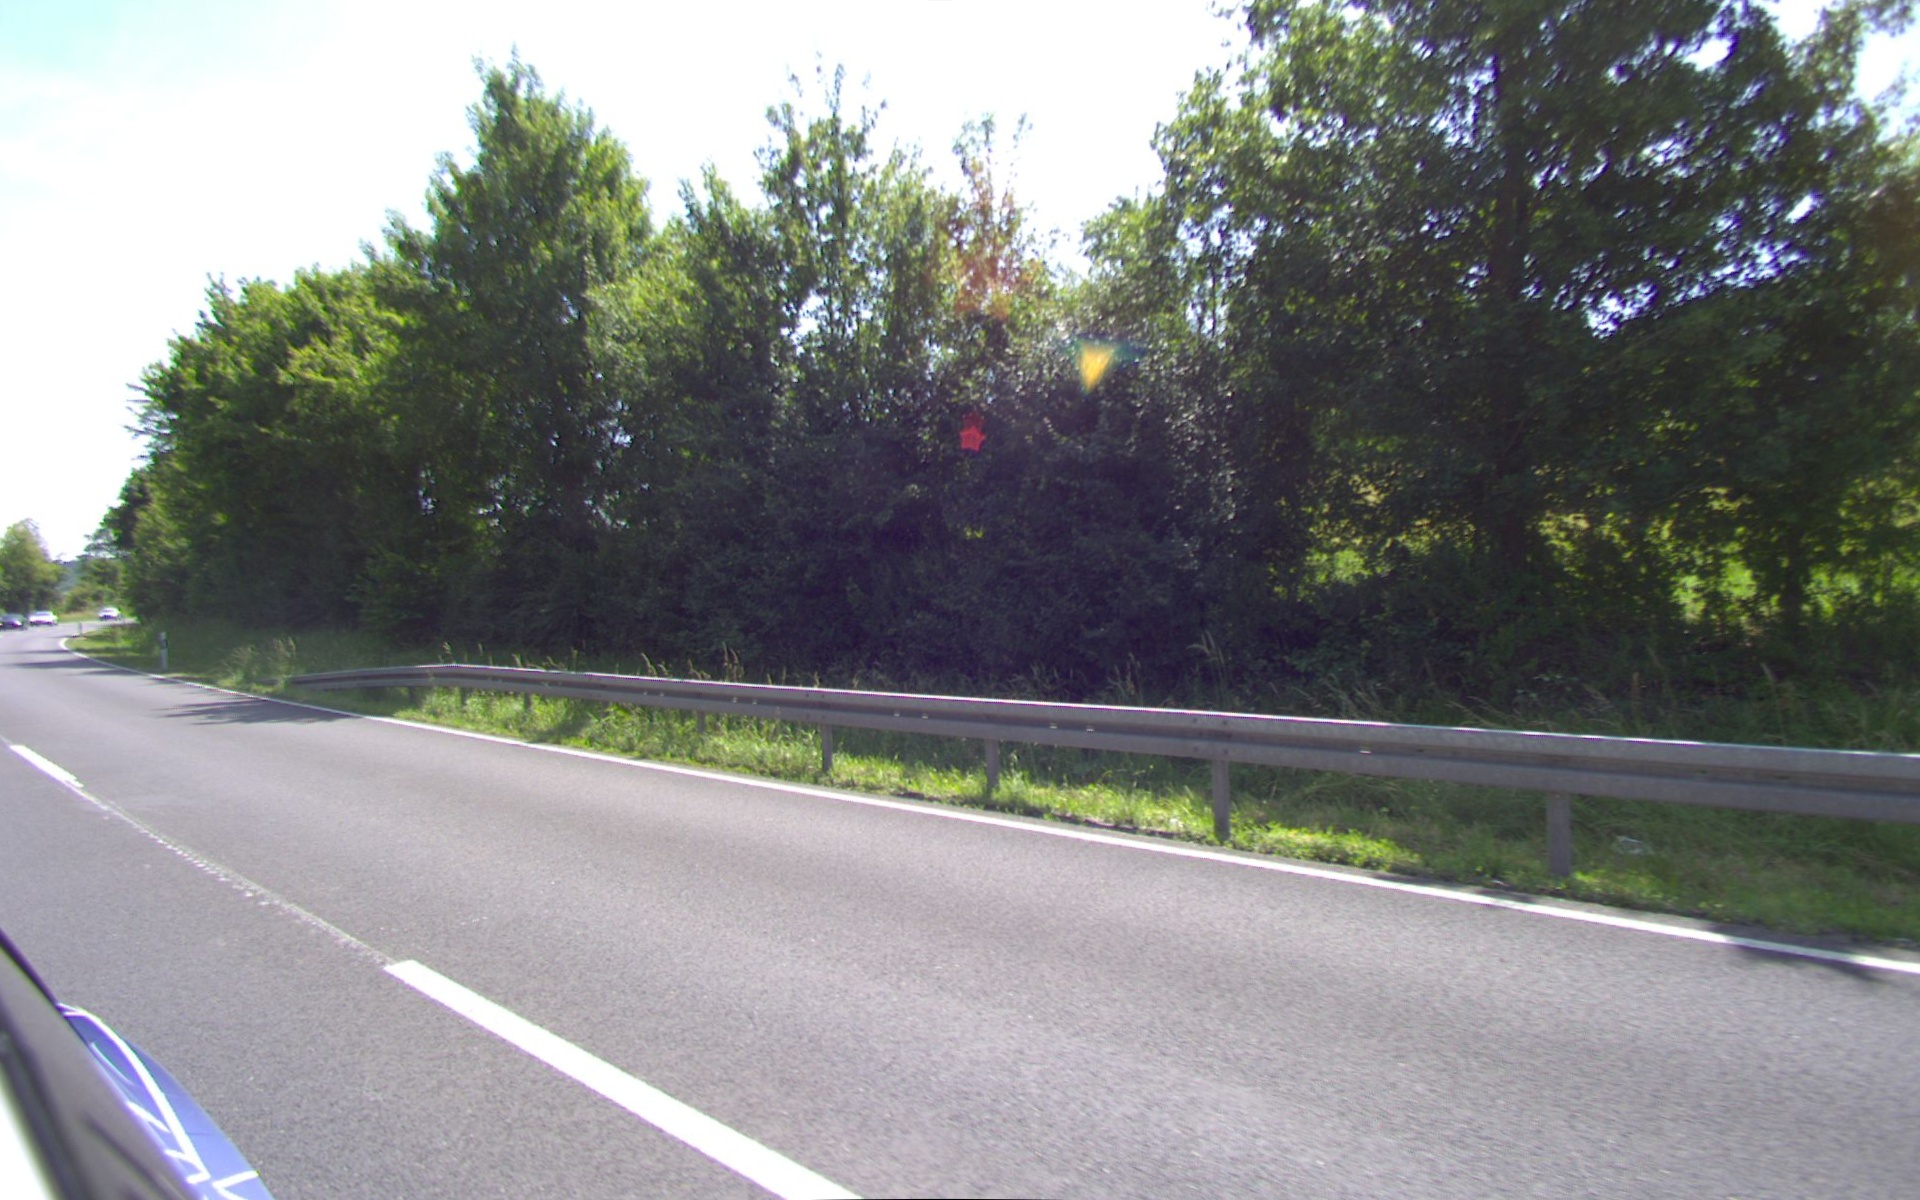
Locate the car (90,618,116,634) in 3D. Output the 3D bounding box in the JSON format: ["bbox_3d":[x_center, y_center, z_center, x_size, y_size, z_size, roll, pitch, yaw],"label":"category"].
[{"bbox_3d":[-115.027,3.470,135.799,1.966,2.029,4.012,-1,0,-30],"label":"car"}]

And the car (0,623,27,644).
[{"bbox_3d":[-83.913,2.959,89.288,1.854,1.721,4.009,0,-2,-36],"label":"car"}]

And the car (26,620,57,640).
[{"bbox_3d":[-97.212,3.186,107.154,1.967,2.029,4.009,0,-1,-36],"label":"car"}]
